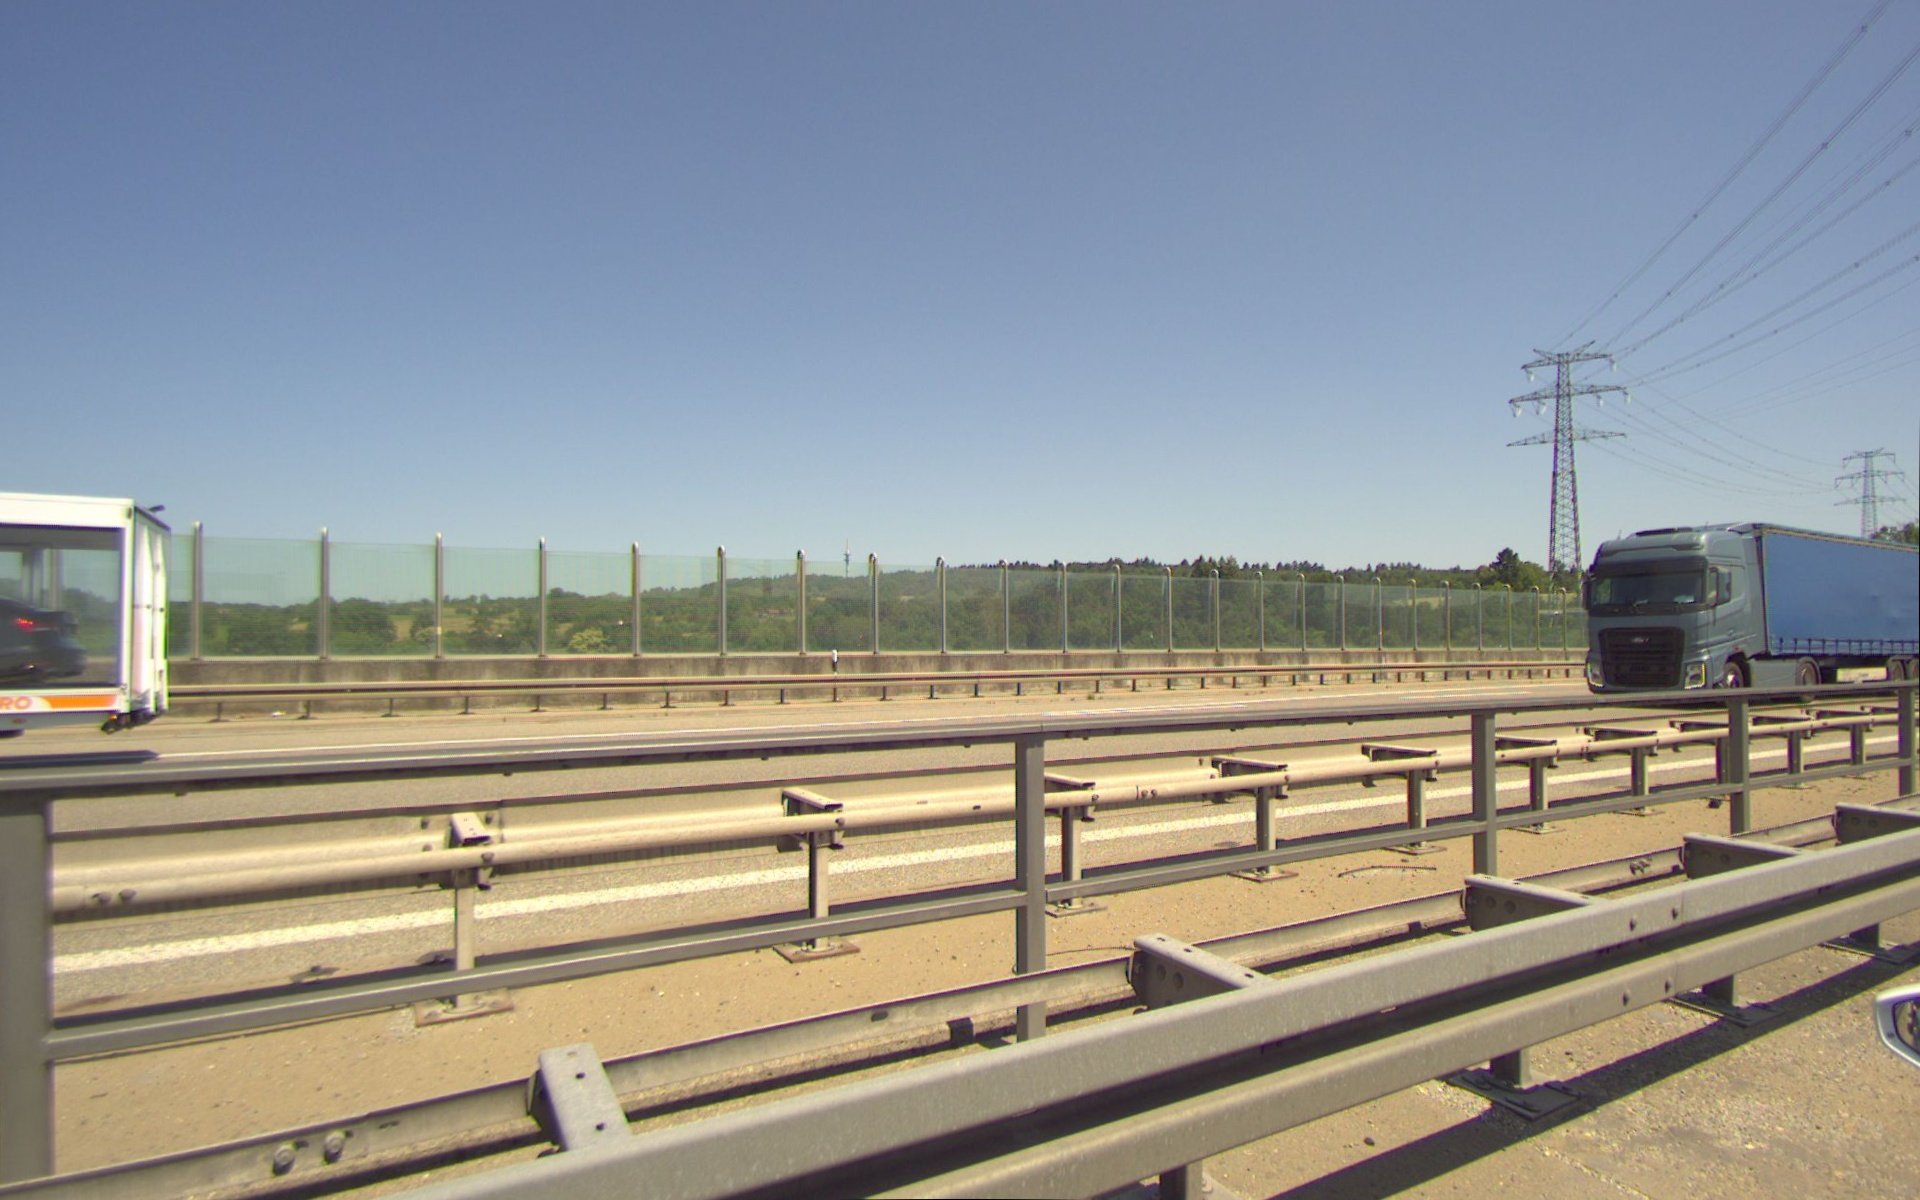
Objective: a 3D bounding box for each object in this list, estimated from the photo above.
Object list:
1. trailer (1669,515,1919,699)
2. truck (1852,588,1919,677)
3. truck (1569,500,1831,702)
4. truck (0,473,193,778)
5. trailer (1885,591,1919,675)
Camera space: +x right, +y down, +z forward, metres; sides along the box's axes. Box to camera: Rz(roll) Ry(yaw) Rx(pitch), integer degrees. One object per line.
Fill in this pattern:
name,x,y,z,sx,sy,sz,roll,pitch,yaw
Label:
trailer,23.726,0.383,27.307,11.911,4.220,2.691,2,-3,-31
truck,40.325,1.405,42.332,5.266,3.581,2.510,2,-3,-30
truck,17.336,0.147,23.476,6.192,4.170,2.740,2,-2,-31
truck,-13.275,0.243,10.305,8.196,3.229,2.552,2,-4,-30
trailer,45.614,1.568,45.396,10.774,3.586,2.487,2,-3,-30
